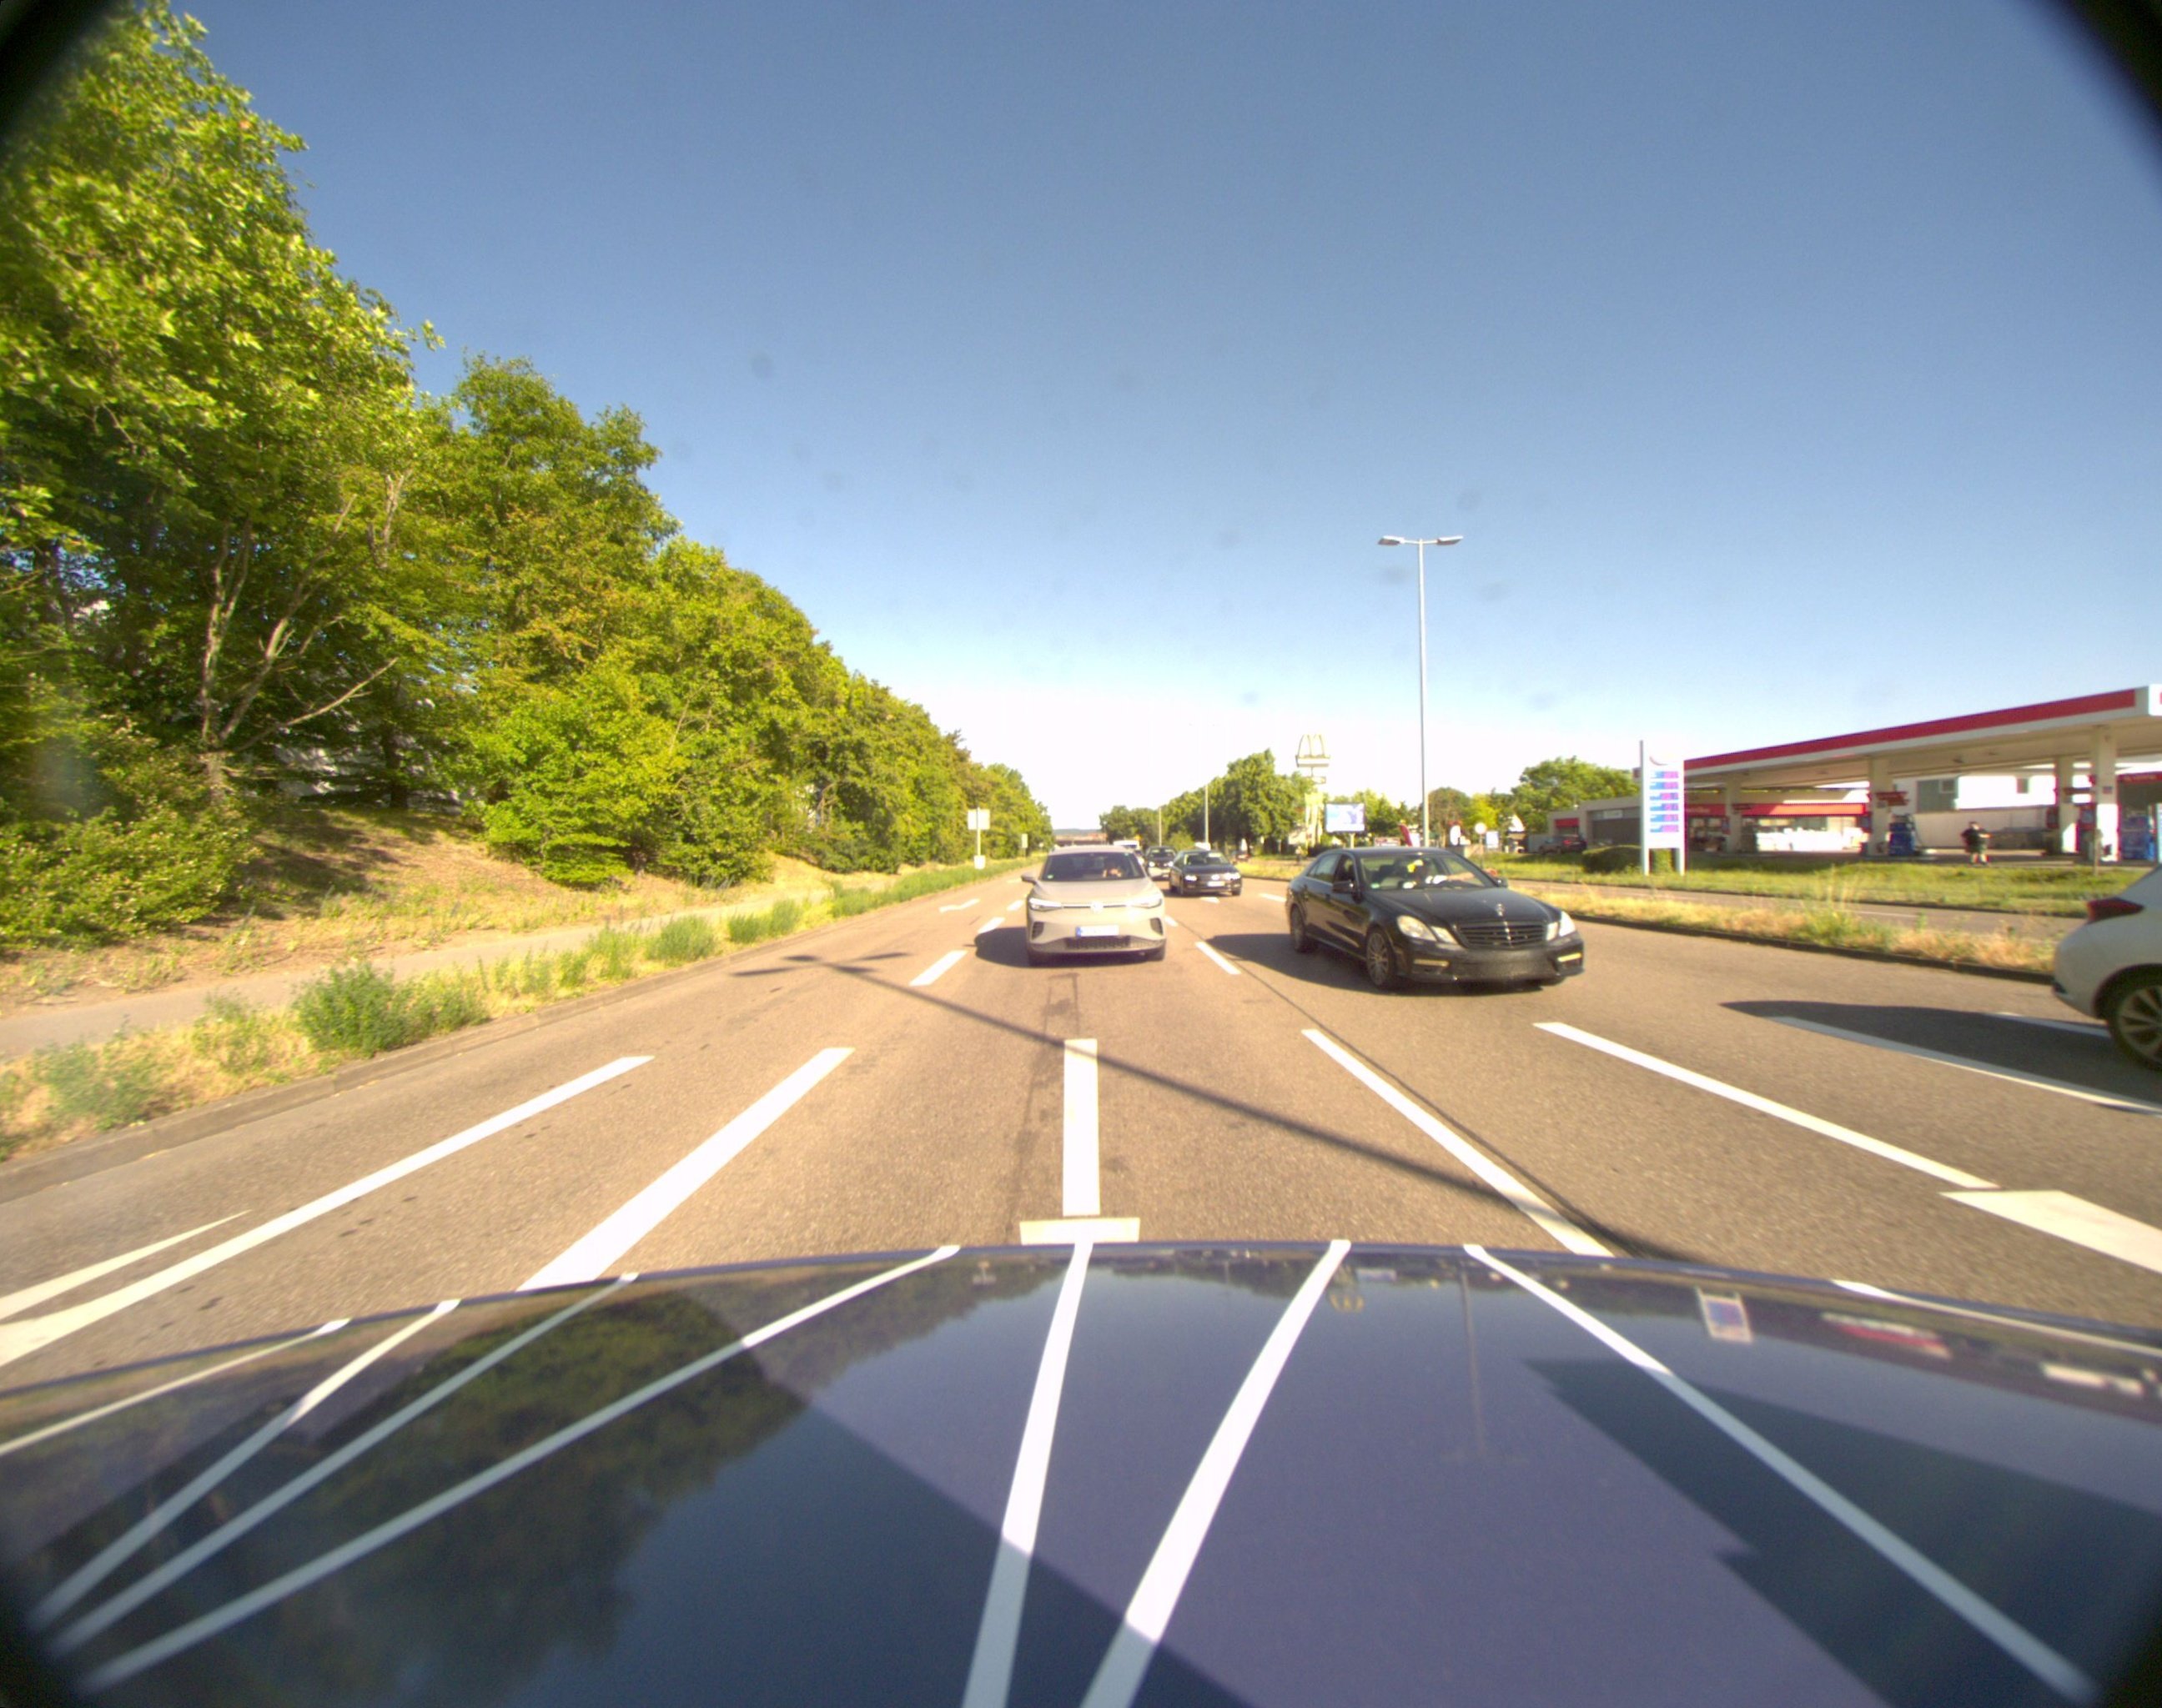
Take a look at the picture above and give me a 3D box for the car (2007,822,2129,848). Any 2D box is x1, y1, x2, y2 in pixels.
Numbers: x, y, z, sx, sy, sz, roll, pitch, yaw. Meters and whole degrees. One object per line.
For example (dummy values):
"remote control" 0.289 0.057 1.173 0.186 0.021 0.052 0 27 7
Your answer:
"car" 56.036 -1.065 43.272 1.683 1.401 3.977 1 1 -1

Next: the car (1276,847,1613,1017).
"car" 3.878 0.688 9.110 1.868 1.430 4.402 -2 1 -1

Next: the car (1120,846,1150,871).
"car" 3.595 0.297 51.267 1.636 1.547 3.776 -2 1 -1

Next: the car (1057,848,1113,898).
"car" 0.100 0.584 26.704 1.763 1.482 4.402 -2 1 -1

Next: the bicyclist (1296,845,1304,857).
"bicyclist" 23.397 -0.331 81.113 0.629 1.281 0.700 -2 2 1

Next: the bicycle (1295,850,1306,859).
"bicycle" 23.396 0.020 81.069 0.629 0.863 1.741 -2 1 1

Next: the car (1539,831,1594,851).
"car" 37.653 -0.996 59.037 1.683 1.401 3.977 -2 1 -1

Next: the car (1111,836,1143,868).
"car" 3.604 -0.208 61.145 2.020 2.349 6.522 -2 1 -1

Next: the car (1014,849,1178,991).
"car" 0.159 0.766 11.130 1.862 1.574 4.402 -2 1 -1

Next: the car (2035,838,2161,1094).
"car" 7.284 0.679 2.997 1.763 1.482 4.196 -2 1 -1

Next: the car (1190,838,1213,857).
"car" 16.617 -0.906 104.931 2.027 2.433 5.820 2 1 -1

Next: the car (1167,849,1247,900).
"car" 3.979 0.602 24.704 1.797 1.419 4.286 -2 1 -1

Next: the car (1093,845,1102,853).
"car" 3.721 -1.106 173.435 1.763 1.607 4.402 -2 1 -1

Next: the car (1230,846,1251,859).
"car" 20.337 -0.213 96.974 1.763 1.482 4.477 2 1 1

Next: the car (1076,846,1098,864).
"car" 0.470 0.057 66.078 1.763 1.482 4.402 -2 1 -1

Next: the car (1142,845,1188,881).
"car" 3.994 0.397 36.632 1.674 1.608 3.878 -2 1 -1

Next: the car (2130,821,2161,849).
"car" 55.832 -0.942 37.799 1.683 1.401 3.977 1 1 -1

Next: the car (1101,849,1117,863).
"car" 3.517 0.183 95.406 1.763 1.607 4.402 -2 1 -1

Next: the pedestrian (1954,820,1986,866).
"pedestrian" 34.546 -0.426 29.526 0.905 1.740 0.789 -4 2 -40

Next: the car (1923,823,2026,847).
"car" 55.921 -1.153 47.675 1.683 1.401 3.977 1 1 -1

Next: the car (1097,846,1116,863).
"car" 2.715 0.053 80.387 1.763 1.607 4.402 -2 1 -1

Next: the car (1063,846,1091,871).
"car" -0.293 0.280 51.869 1.763 1.482 4.402 -2 1 -1
